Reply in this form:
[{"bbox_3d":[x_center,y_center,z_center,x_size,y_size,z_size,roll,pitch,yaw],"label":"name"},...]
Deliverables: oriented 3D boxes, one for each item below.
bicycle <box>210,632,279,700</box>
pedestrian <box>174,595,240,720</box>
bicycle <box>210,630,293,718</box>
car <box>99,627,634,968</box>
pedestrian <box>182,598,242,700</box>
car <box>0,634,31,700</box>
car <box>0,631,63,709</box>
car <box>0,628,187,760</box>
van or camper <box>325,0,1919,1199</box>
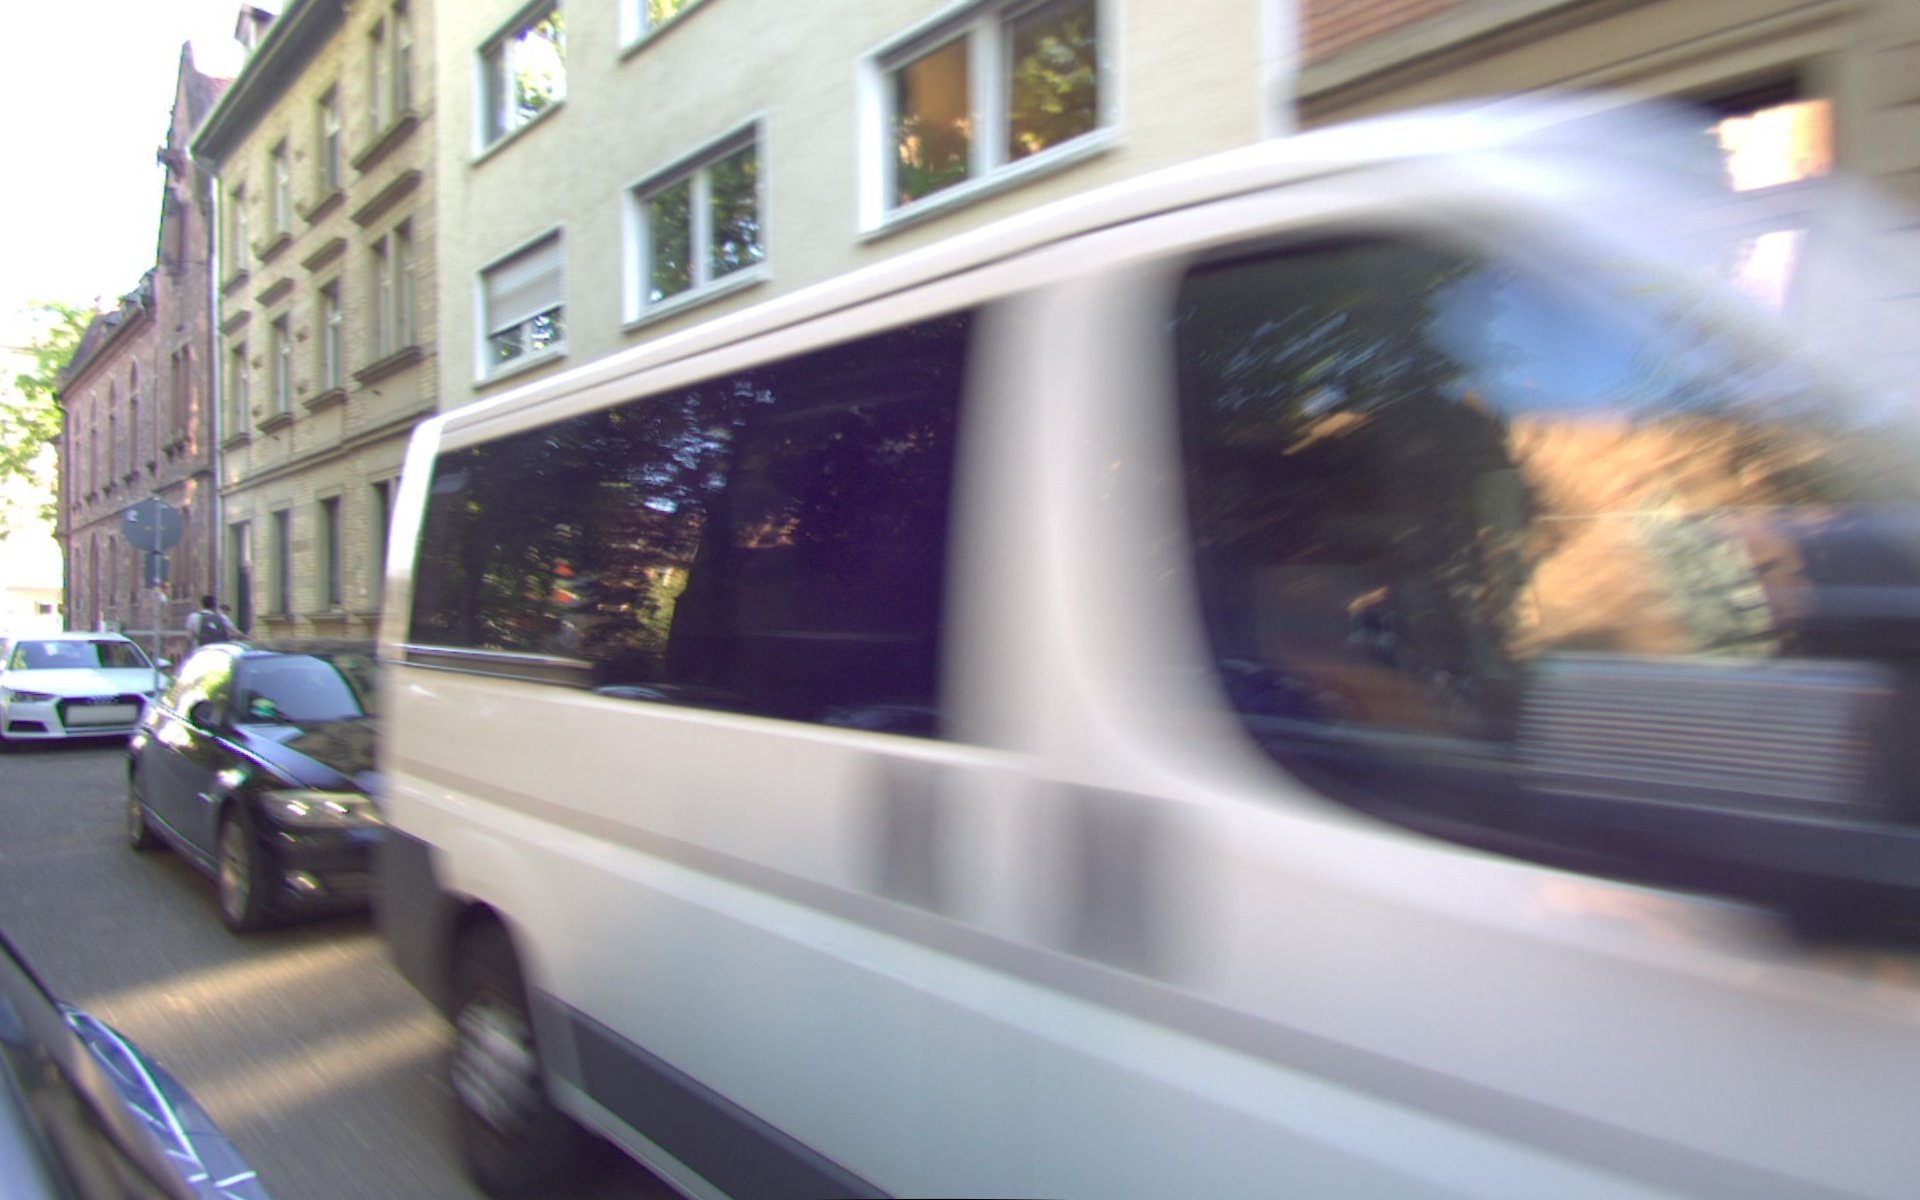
[{"bbox_3d":[-13.176,1.188,18.610,1.843,1.156,0.564,-2,2,41],"label":"bicycle"},{"bbox_3d":[-11.404,0.849,15.319,1.114,1.816,0.483,-2,1,40],"label":"pedestrian"},{"bbox_3d":[-11.009,1.115,15.702,1.843,1.253,0.564,-2,2,41],"label":"bicycle"},{"bbox_3d":[-3.929,0.899,6.331,4.315,1.413,1.712,-2,-3,43],"label":"car"},{"bbox_3d":[-14.746,0.949,19.948,0.762,1.943,0.758,-2,-1,38],"label":"pedestrian"},{"bbox_3d":[-22.931,1.515,23.479,3.803,1.428,1.690,-1,-3,43],"label":"car"},{"bbox_3d":[-19.368,1.357,20.254,3.803,1.428,1.690,-1,-3,43],"label":"car"},{"bbox_3d":[-11.902,1.132,13.474,4.519,1.467,1.712,-2,-3,42],"label":"car"},{"bbox_3d":[0.586,0.379,2.292,5.154,2.164,2.153,-2,-3,43],"label":"van or camper"}]
